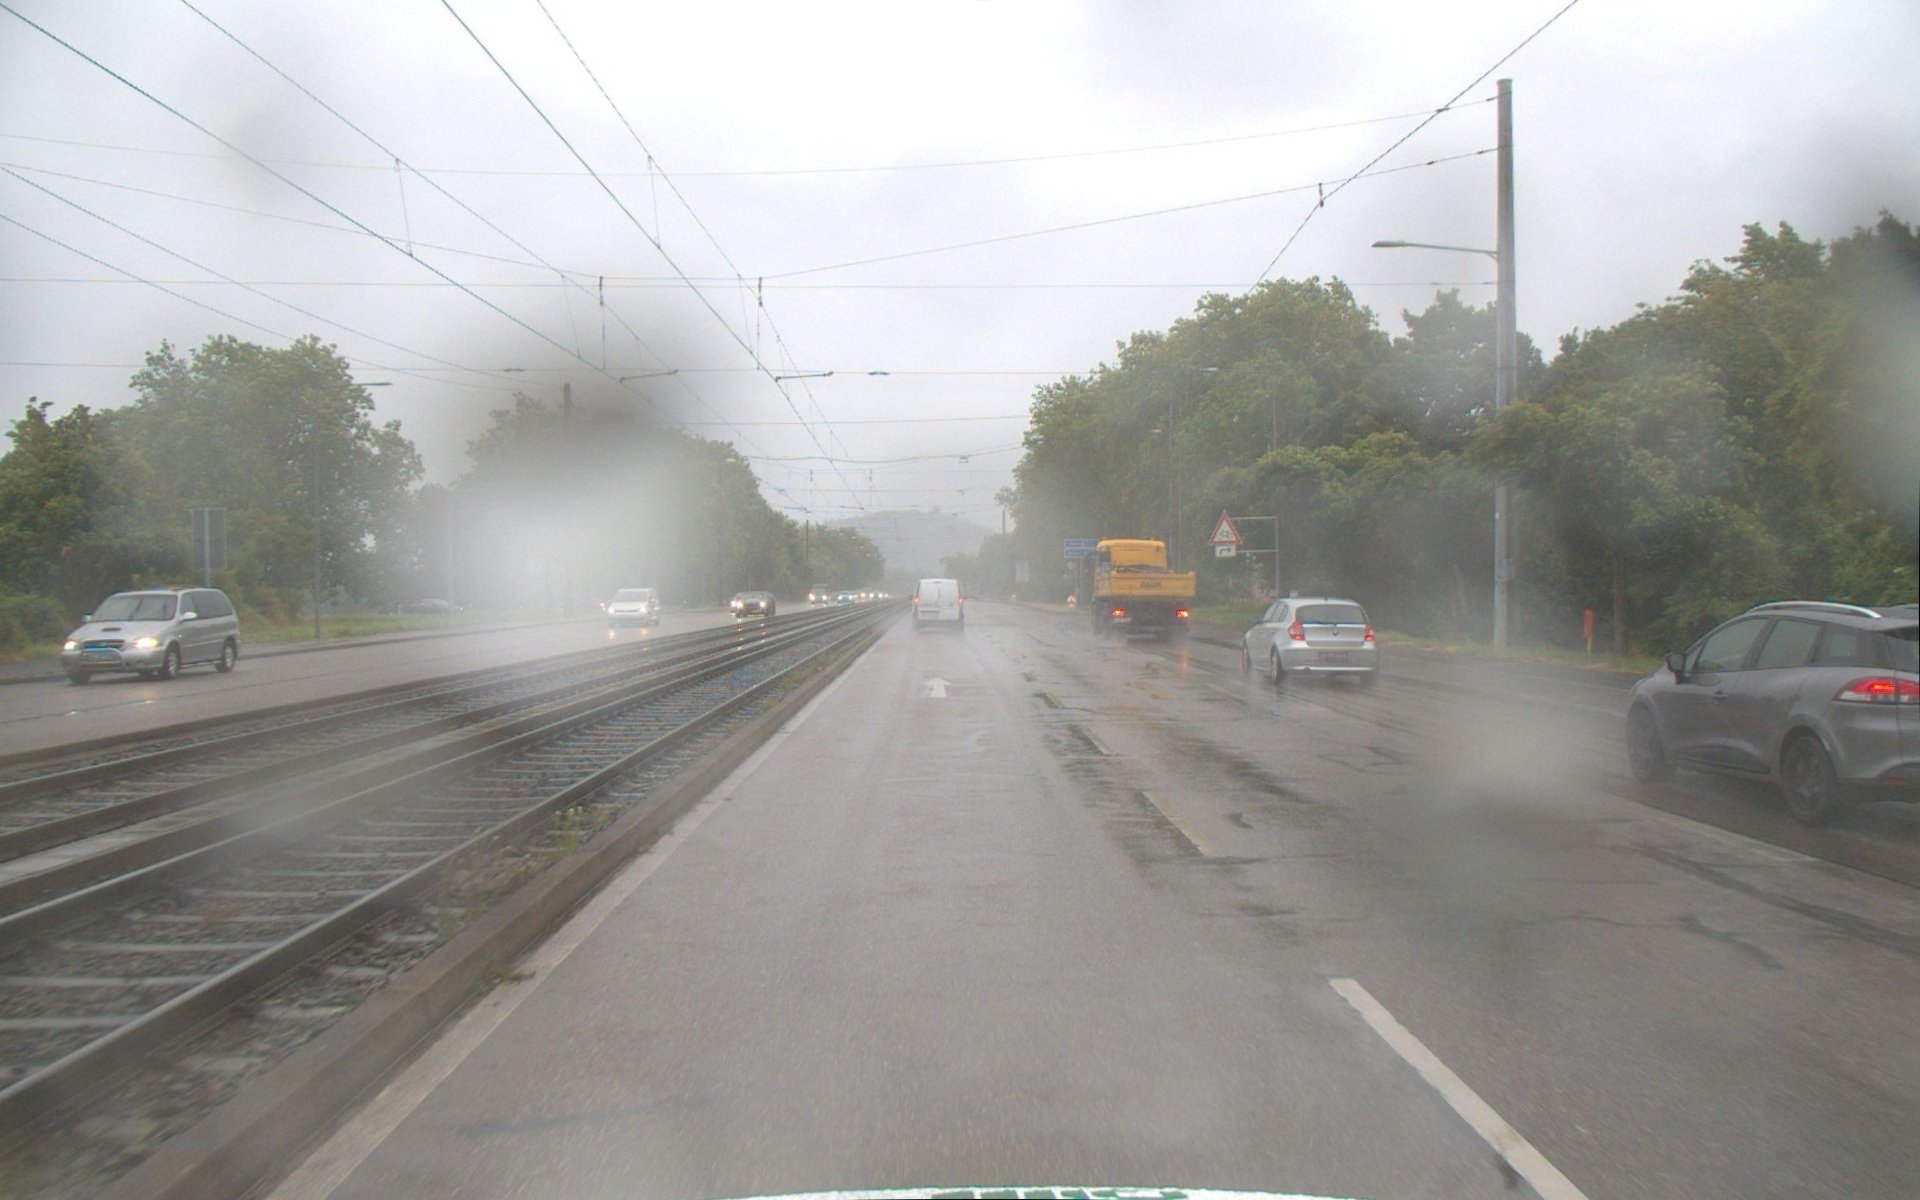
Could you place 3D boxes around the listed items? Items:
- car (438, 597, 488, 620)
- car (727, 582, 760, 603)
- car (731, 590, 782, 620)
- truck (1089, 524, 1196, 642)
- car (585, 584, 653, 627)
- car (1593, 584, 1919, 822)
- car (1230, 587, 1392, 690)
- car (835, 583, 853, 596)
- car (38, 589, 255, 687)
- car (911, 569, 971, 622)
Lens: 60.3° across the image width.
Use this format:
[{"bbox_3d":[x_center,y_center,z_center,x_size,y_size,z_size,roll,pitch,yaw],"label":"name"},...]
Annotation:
[{"bbox_3d":[-39.936,0.661,132.886,4.572,1.716,1.834,2,2,45],"label":"car"},{"bbox_3d":[-15.255,-0.565,116.682,1.722,1.386,5.071,1,1,-1],"label":"car"},{"bbox_3d":[-11.446,0.256,93.344,1.952,1.489,5.253,-2,1,2],"label":"car"},{"bbox_3d":[5.482,-0.569,50.635,2.503,3.314,6.934,1,1,0],"label":"truck"},{"bbox_3d":[-13.914,0.210,67.800,1.805,1.601,5.065,1,1,-1],"label":"car"},{"bbox_3d":[6.393,0.615,12.142,1.849,1.380,4.278,1,1,0],"label":"car"},{"bbox_3d":[5.894,0.583,28.307,1.594,1.529,4.604,1,1,-2],"label":"car"},{"bbox_3d":[-12.994,-1.156,185.227,1.706,1.377,4.545,1,1,-1],"label":"car"},{"bbox_3d":[-15.759,0.671,32.369,1.788,1.663,5.136,1,1,-1],"label":"car"},{"bbox_3d":[-0.610,-0.176,56.547,1.948,1.713,3.740,1,1,0],"label":"car"}]
